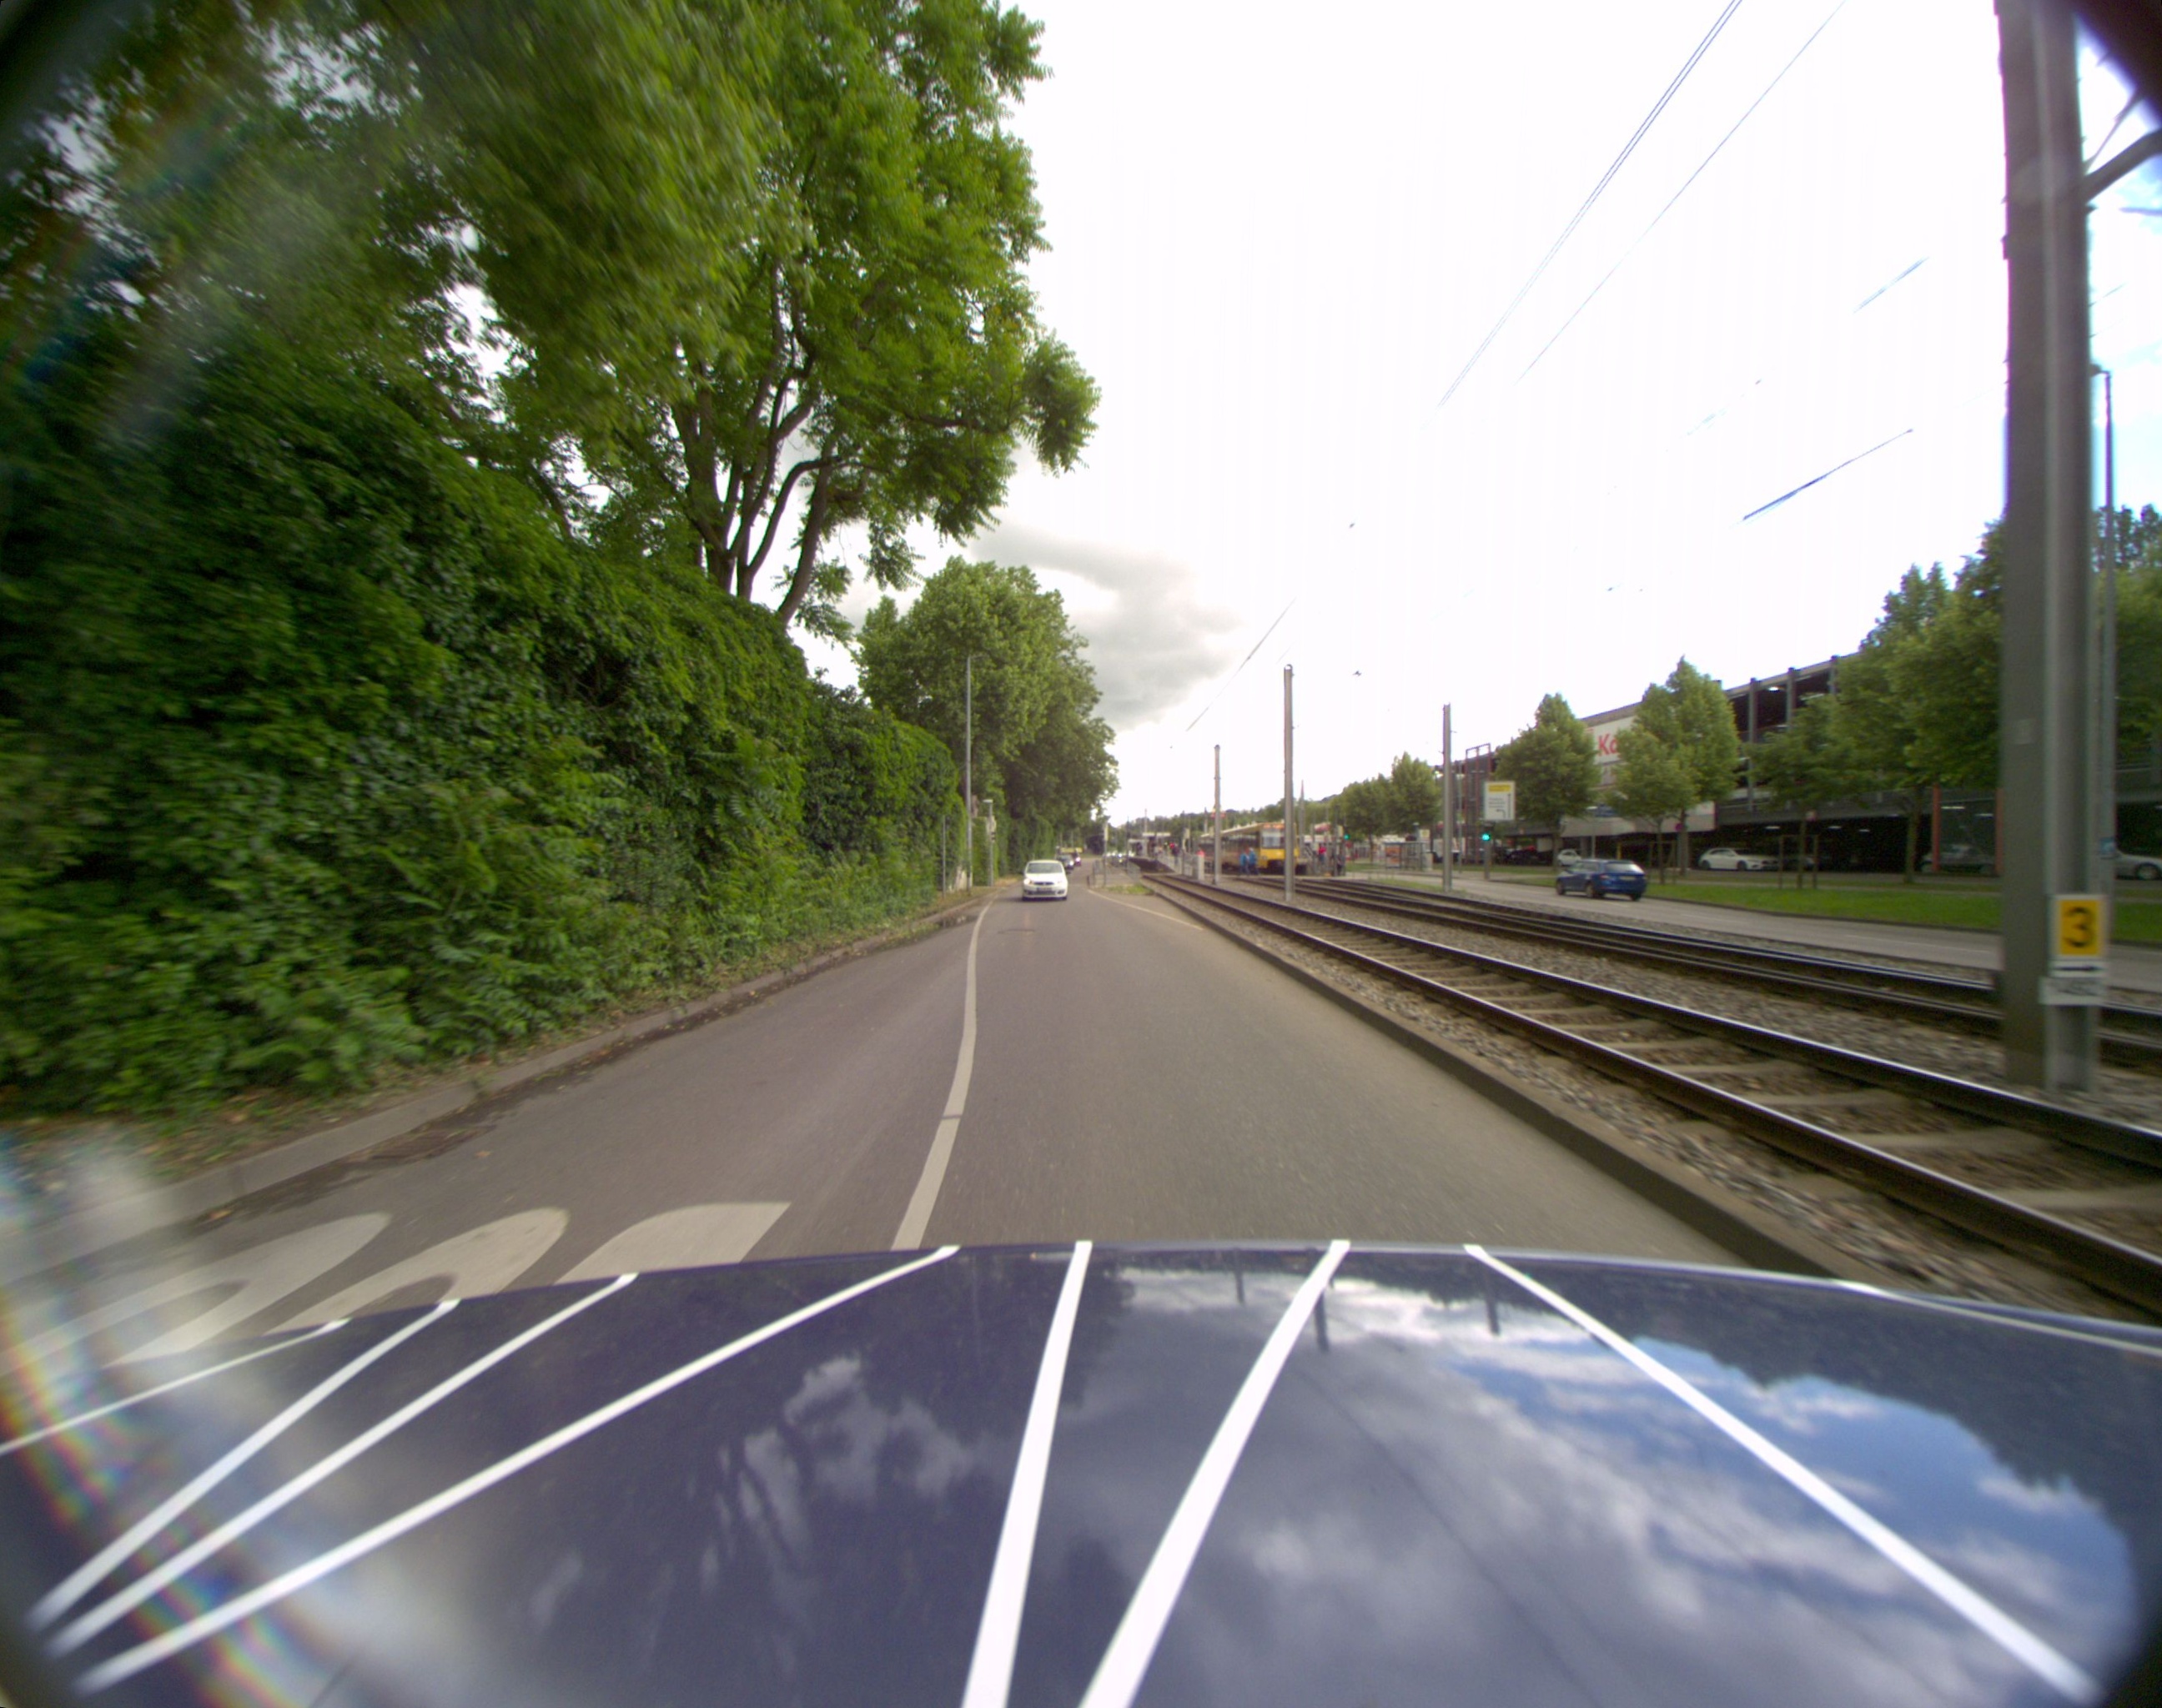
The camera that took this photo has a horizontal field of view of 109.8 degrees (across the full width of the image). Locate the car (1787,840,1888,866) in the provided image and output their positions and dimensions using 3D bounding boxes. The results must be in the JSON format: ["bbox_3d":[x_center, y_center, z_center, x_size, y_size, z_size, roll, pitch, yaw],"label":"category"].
[{"bbox_3d":[44.885,-0.057,45.220,1.845,1.424,4.197,1,1,1],"label":"car"}]

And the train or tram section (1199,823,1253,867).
[{"bbox_3d":[14.565,-0.787,78.235,2.763,3.860,18.635,-2,0,3],"label":"train or tram section"}]

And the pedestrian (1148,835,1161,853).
[{"bbox_3d":[6.802,-0.901,70.526,0.743,1.668,0.878,2,1,45],"label":"pedestrian"}]

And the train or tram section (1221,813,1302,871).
[{"bbox_3d":[13.658,-0.751,59.593,2.763,3.806,18.635,-2,0,3],"label":"train or tram section"}]

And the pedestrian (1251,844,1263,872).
[{"bbox_3d":[10.688,0.260,46.191,0.656,1.688,0.729,1,1,12],"label":"pedestrian"}]

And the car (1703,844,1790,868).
[{"bbox_3d":[39.592,0.105,45.312,1.640,1.316,4.072,-1,0,0],"label":"car"}]

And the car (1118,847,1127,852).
[{"bbox_3d":[12.318,-1.418,224.649,1.997,1.527,4.003,1,1,10],"label":"car"}]

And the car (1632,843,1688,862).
[{"bbox_3d":[47.590,-0.105,62.553,1.759,1.506,3.869,-1,0,1],"label":"car"}]

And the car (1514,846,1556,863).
[{"bbox_3d":[43.138,0.055,72.224,1.728,1.506,3.795,1,1,1],"label":"car"}]

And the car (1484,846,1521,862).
[{"bbox_3d":[43.004,0.002,77.600,1.728,1.506,3.795,1,1,1],"label":"car"}]

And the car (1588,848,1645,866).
[{"bbox_3d":[42.518,0.227,60.477,1.782,1.395,4.000,1,1,2],"label":"car"}]

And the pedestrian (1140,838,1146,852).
[{"bbox_3d":[8.055,-1.176,98.590,0.750,1.734,0.937,1,1,1],"label":"pedestrian"}]

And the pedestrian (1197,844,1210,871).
[{"bbox_3d":[7.790,0.216,48.346,0.613,1.644,0.797,2,1,22],"label":"pedestrian"}]

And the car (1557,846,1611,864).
[{"bbox_3d":[40.137,0.072,60.718,1.782,1.390,4.000,1,1,2],"label":"car"}]

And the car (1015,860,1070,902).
[{"bbox_3d":[-1.508,0.958,28.625,1.675,1.439,3.602,-2,0,-9],"label":"car"}]

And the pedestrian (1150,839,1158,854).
[{"bbox_3d":[7.433,-0.731,77.004,0.519,1.474,0.583,2,1,39],"label":"pedestrian"}]

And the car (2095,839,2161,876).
[{"bbox_3d":[41.966,0.160,28.703,1.845,1.424,4.053,1,1,1],"label":"car"}]

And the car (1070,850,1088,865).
[{"bbox_3d":[-0.232,0.389,85.746,1.896,1.607,4.508,-2,0,1],"label":"car"}]

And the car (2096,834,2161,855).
[{"bbox_3d":[62.439,-0.555,44.626,1.442,1.217,3.217,-1,0,2],"label":"car"}]

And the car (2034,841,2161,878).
[{"bbox_3d":[39.203,0.195,28.558,1.640,1.297,4.072,-1,0,0],"label":"car"}]

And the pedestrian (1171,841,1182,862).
[{"bbox_3d":[7.458,-0.200,59.296,0.773,1.668,0.791,1,1,1],"label":"pedestrian"}]

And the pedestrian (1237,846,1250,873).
[{"bbox_3d":[9.729,0.321,45.456,0.713,1.602,0.942,1,1,12],"label":"pedestrian"}]

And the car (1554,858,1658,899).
[{"bbox_3d":[19.583,0.876,28.534,1.663,1.385,3.720,-1,0,6],"label":"car"}]

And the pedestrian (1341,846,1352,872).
[{"bbox_3d":[16.796,0.329,48.054,0.517,1.652,0.466,1,1,12],"label":"pedestrian"}]

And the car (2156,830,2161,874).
[{"bbox_3d":[44.465,-0.087,28.743,1.845,1.804,4.053,-1,0,1],"label":"car"}]

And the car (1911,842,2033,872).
[{"bbox_3d":[39.428,0.112,33.743,1.442,1.217,3.475,-1,0,3],"label":"car"}]

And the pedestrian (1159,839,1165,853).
[{"bbox_3d":[8.023,-0.806,75.247,0.480,1.397,0.411,1,1,0],"label":"pedestrian"}]

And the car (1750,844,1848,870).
[{"bbox_3d":[42.583,0.153,45.189,1.845,1.424,4.197,1,1,1],"label":"car"}]
